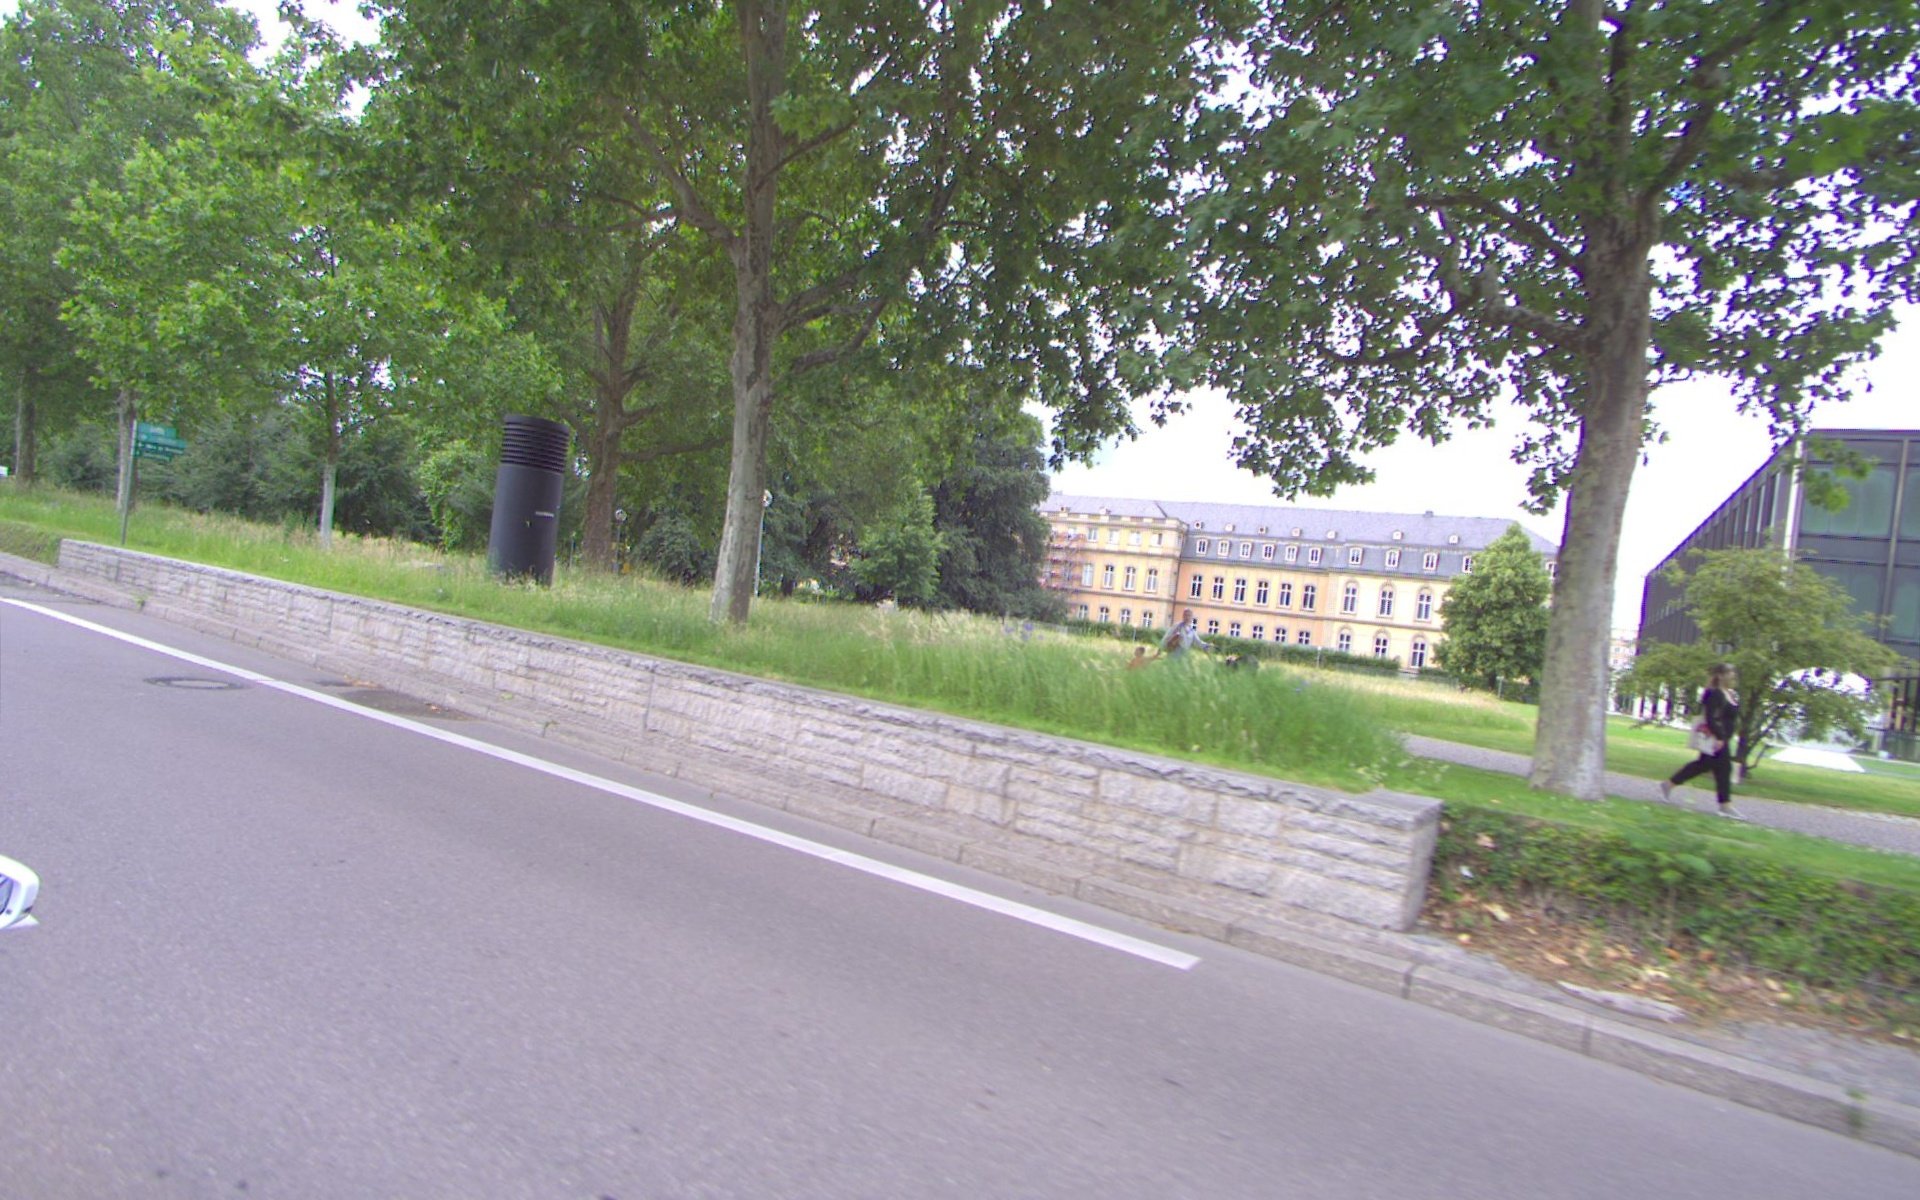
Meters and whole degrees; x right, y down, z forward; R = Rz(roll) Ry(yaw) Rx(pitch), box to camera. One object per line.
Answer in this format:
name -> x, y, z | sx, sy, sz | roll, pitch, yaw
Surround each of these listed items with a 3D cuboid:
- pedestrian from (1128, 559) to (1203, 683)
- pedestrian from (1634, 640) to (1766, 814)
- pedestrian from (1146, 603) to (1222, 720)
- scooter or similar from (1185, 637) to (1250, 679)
pedestrian -> 3.603, 0.370, 17.663 | 0.917, 2.036, 0.571 | 6, -3, 32
pedestrian -> 8.314, 1.415, 11.360 | 0.953, 1.751, 0.898 | 7, -2, 32
pedestrian -> 3.907, 1.074, 17.461 | 1.010, 1.856, 1.001 | 7, -3, 17
scooter or similar -> 4.392, 0.986, 17.140 | 0.882, 0.558, 0.620 | 6, -3, 32
